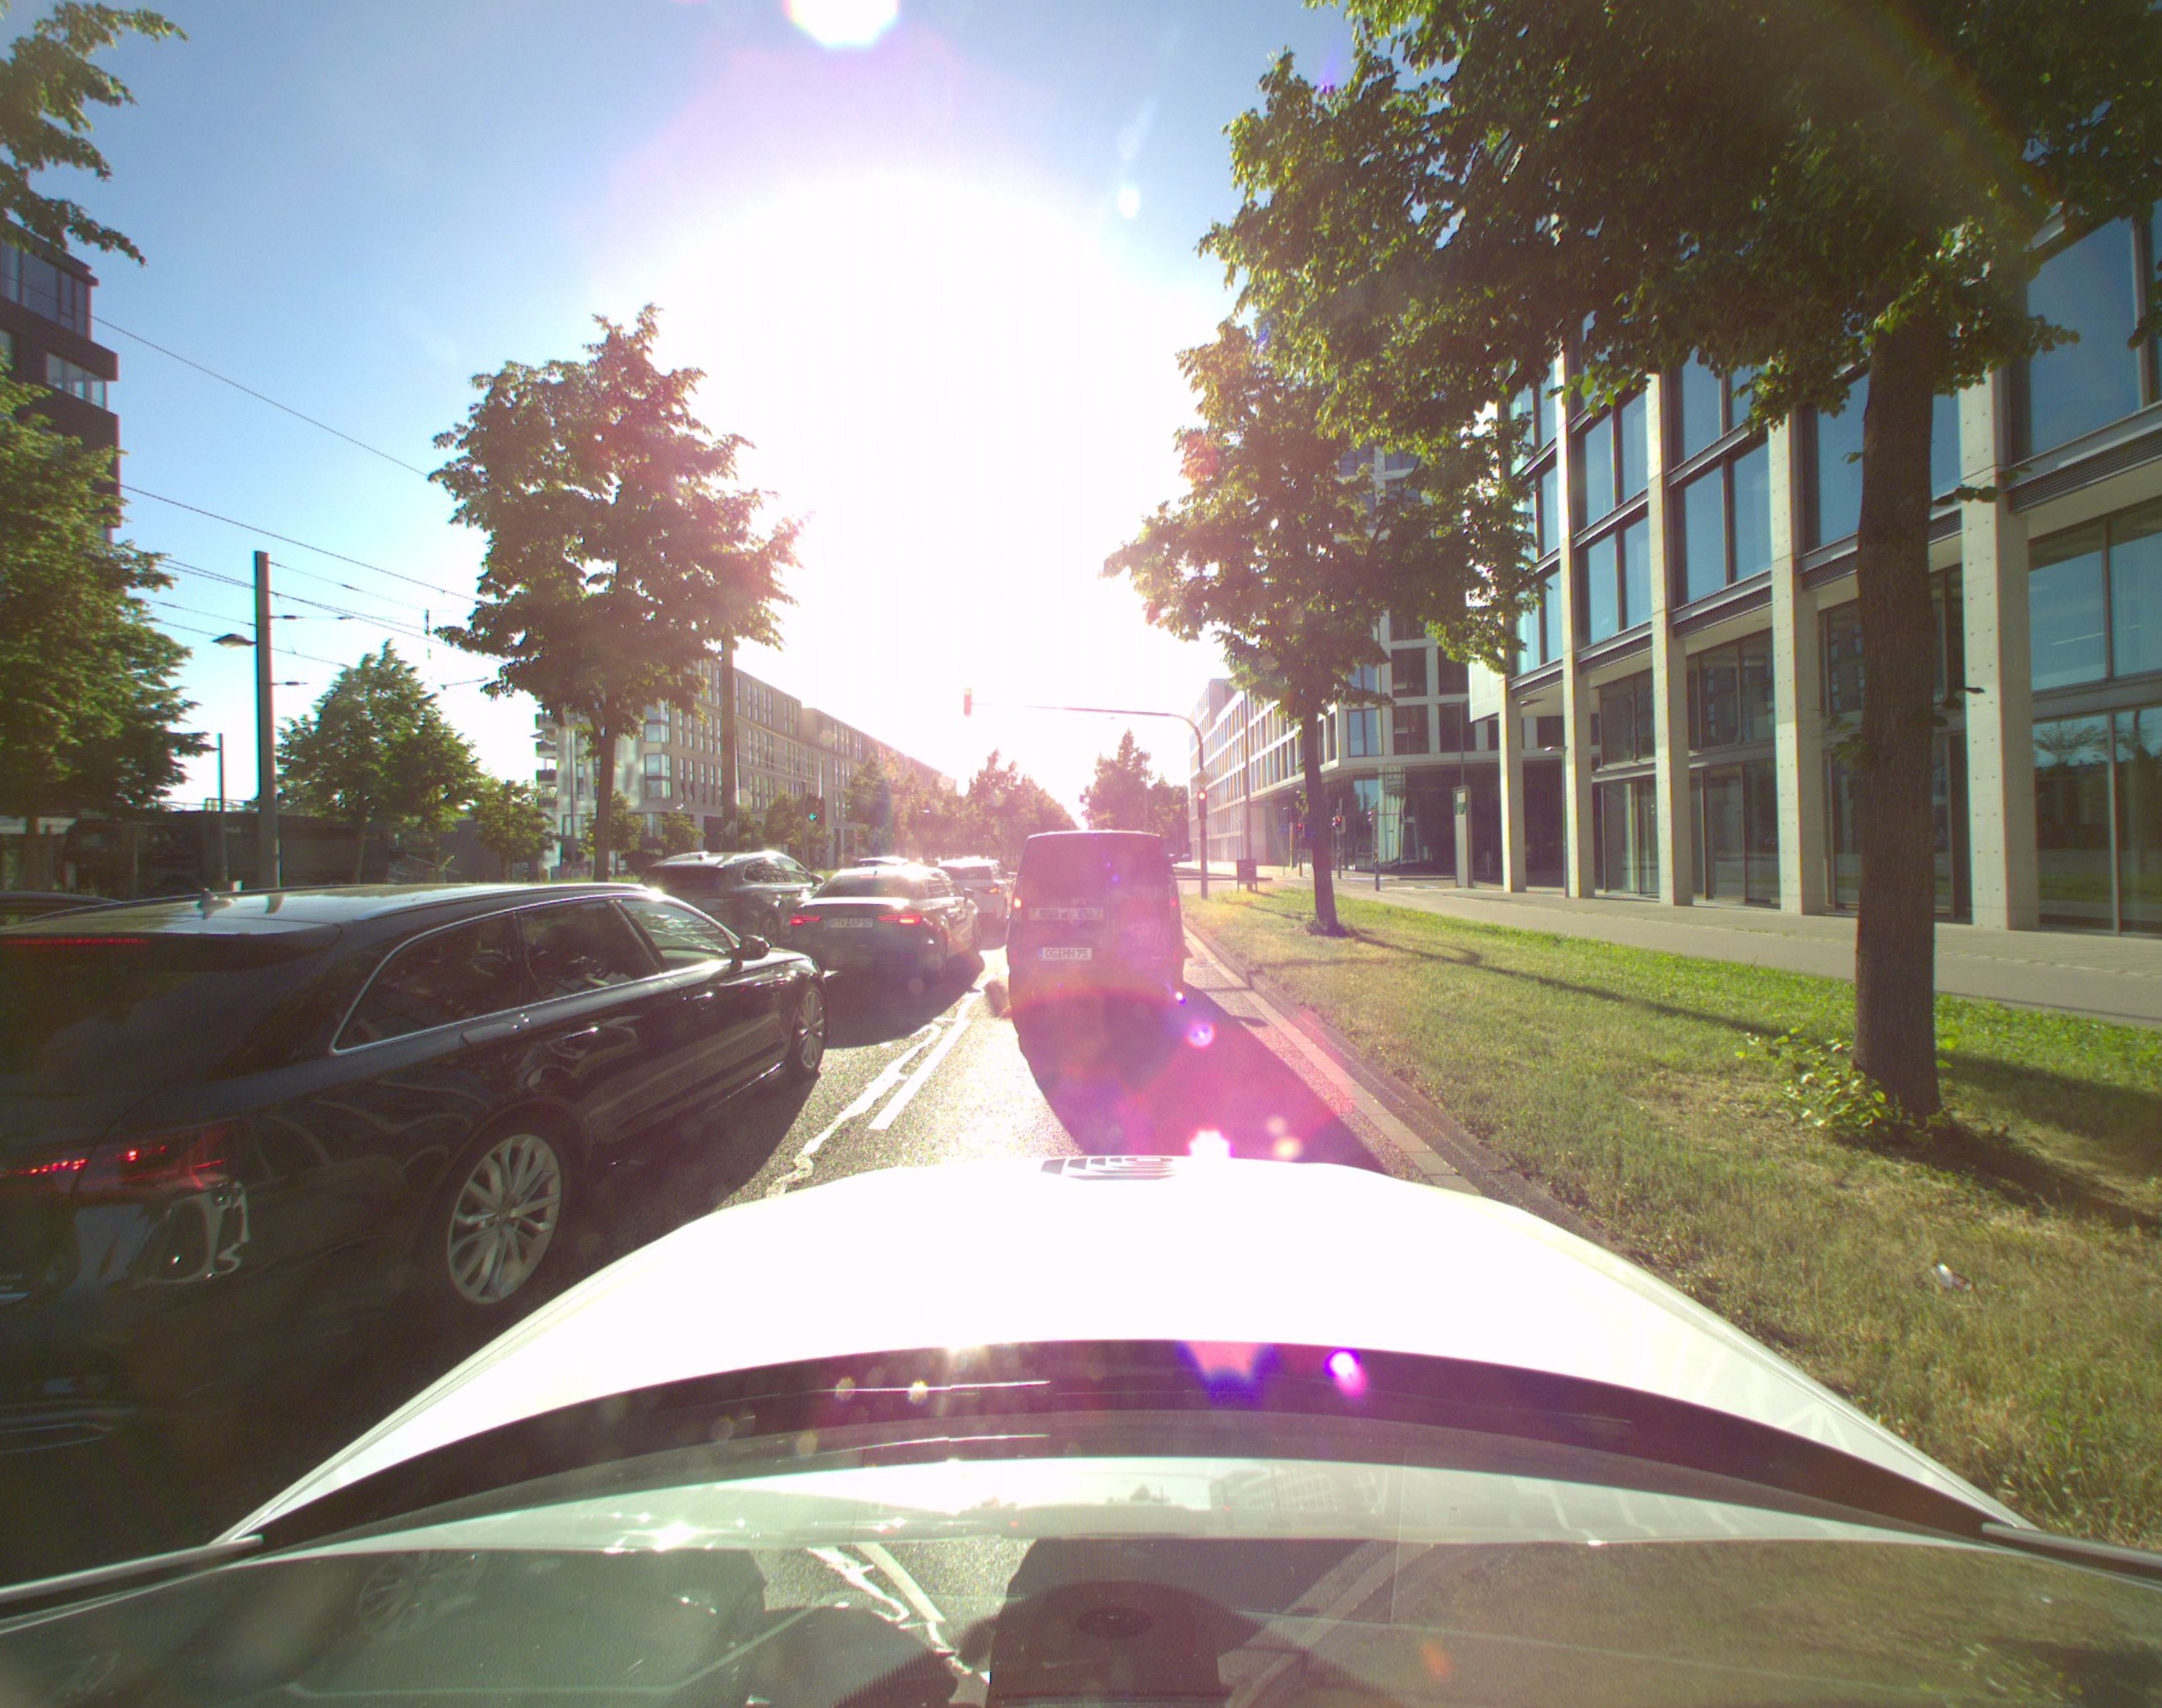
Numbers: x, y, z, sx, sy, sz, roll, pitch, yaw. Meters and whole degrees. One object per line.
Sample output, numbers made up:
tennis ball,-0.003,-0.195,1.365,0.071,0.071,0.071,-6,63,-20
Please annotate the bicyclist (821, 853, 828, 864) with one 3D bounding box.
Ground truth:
bicyclist,-36.079,0.687,114.530,0.674,1.529,0.714,-1,0,1

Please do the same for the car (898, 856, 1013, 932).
car,-2.619,0.783,17.885,1.797,1.426,3.902,-1,0,2

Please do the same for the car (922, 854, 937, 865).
car,-29.703,1.048,159.495,1.986,2.013,4.002,-1,0,2

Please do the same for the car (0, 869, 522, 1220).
car,-5.535,0.870,4.357,1.792,1.447,4.570,-1,0,2

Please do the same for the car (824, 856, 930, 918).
car,-5.550,0.841,22.744,1.794,1.483,4.566,2,0,-1

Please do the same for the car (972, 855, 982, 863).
car,-27.911,1.321,218.311,1.986,2.013,4.002,-1,0,2

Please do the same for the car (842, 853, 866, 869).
car,-30.888,0.908,110.708,1.986,2.013,4.002,-1,0,2

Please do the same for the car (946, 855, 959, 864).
car,-28.911,1.160,183.479,1.986,2.013,4.002,-1,0,2

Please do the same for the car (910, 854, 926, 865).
car,-30.116,1.004,150.398,1.986,2.013,4.002,-1,0,2

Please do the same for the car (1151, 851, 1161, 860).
car,16.497,0.333,179.795,1.986,1.782,4.002,-1,0,2

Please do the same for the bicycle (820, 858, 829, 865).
bicycle,-36.064,1.079,114.543,0.674,0.988,1.957,-1,0,2

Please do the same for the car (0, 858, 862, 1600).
car,-2.773,0.802,4.158,1.868,1.484,4.967,-1,0,1

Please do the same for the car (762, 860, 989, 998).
car,-2.499,0.837,11.084,1.835,1.426,4.340,-1,0,2

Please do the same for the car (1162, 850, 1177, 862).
car,14.426,0.304,132.910,1.986,1.782,4.002,-1,0,2

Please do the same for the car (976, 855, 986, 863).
car,-27.454,1.352,223.928,1.986,2.013,4.002,-1,0,2

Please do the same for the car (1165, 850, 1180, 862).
car,14.312,0.282,127.836,1.986,1.782,4.002,-1,0,2

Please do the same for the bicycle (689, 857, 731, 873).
bicycle,-29.626,0.903,65.000,2.932,1.190,0.818,-1,0,0

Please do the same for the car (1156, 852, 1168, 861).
car,15.955,0.443,160.593,1.986,1.782,4.002,-1,0,2

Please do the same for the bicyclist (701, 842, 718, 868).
bicyclist,-29.652,0.068,65.014,0.937,2.092,0.818,-1,0,0

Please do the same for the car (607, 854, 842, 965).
car,-5.397,0.742,13.100,1.794,1.447,4.567,0,0,-1

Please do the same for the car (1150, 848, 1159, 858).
car,17.879,-0.208,198.296,1.986,2.497,4.988,-1,0,2

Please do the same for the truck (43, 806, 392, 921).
truck,-33.634,0.304,32.758,2.880,3.853,10.218,-1,0,2

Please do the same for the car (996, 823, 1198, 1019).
car,0.212,0.614,9.547,1.835,1.780,4.002,-1,0,2

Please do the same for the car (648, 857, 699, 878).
car,-31.049,1.015,62.187,1.758,1.520,4.002,-1,0,2
